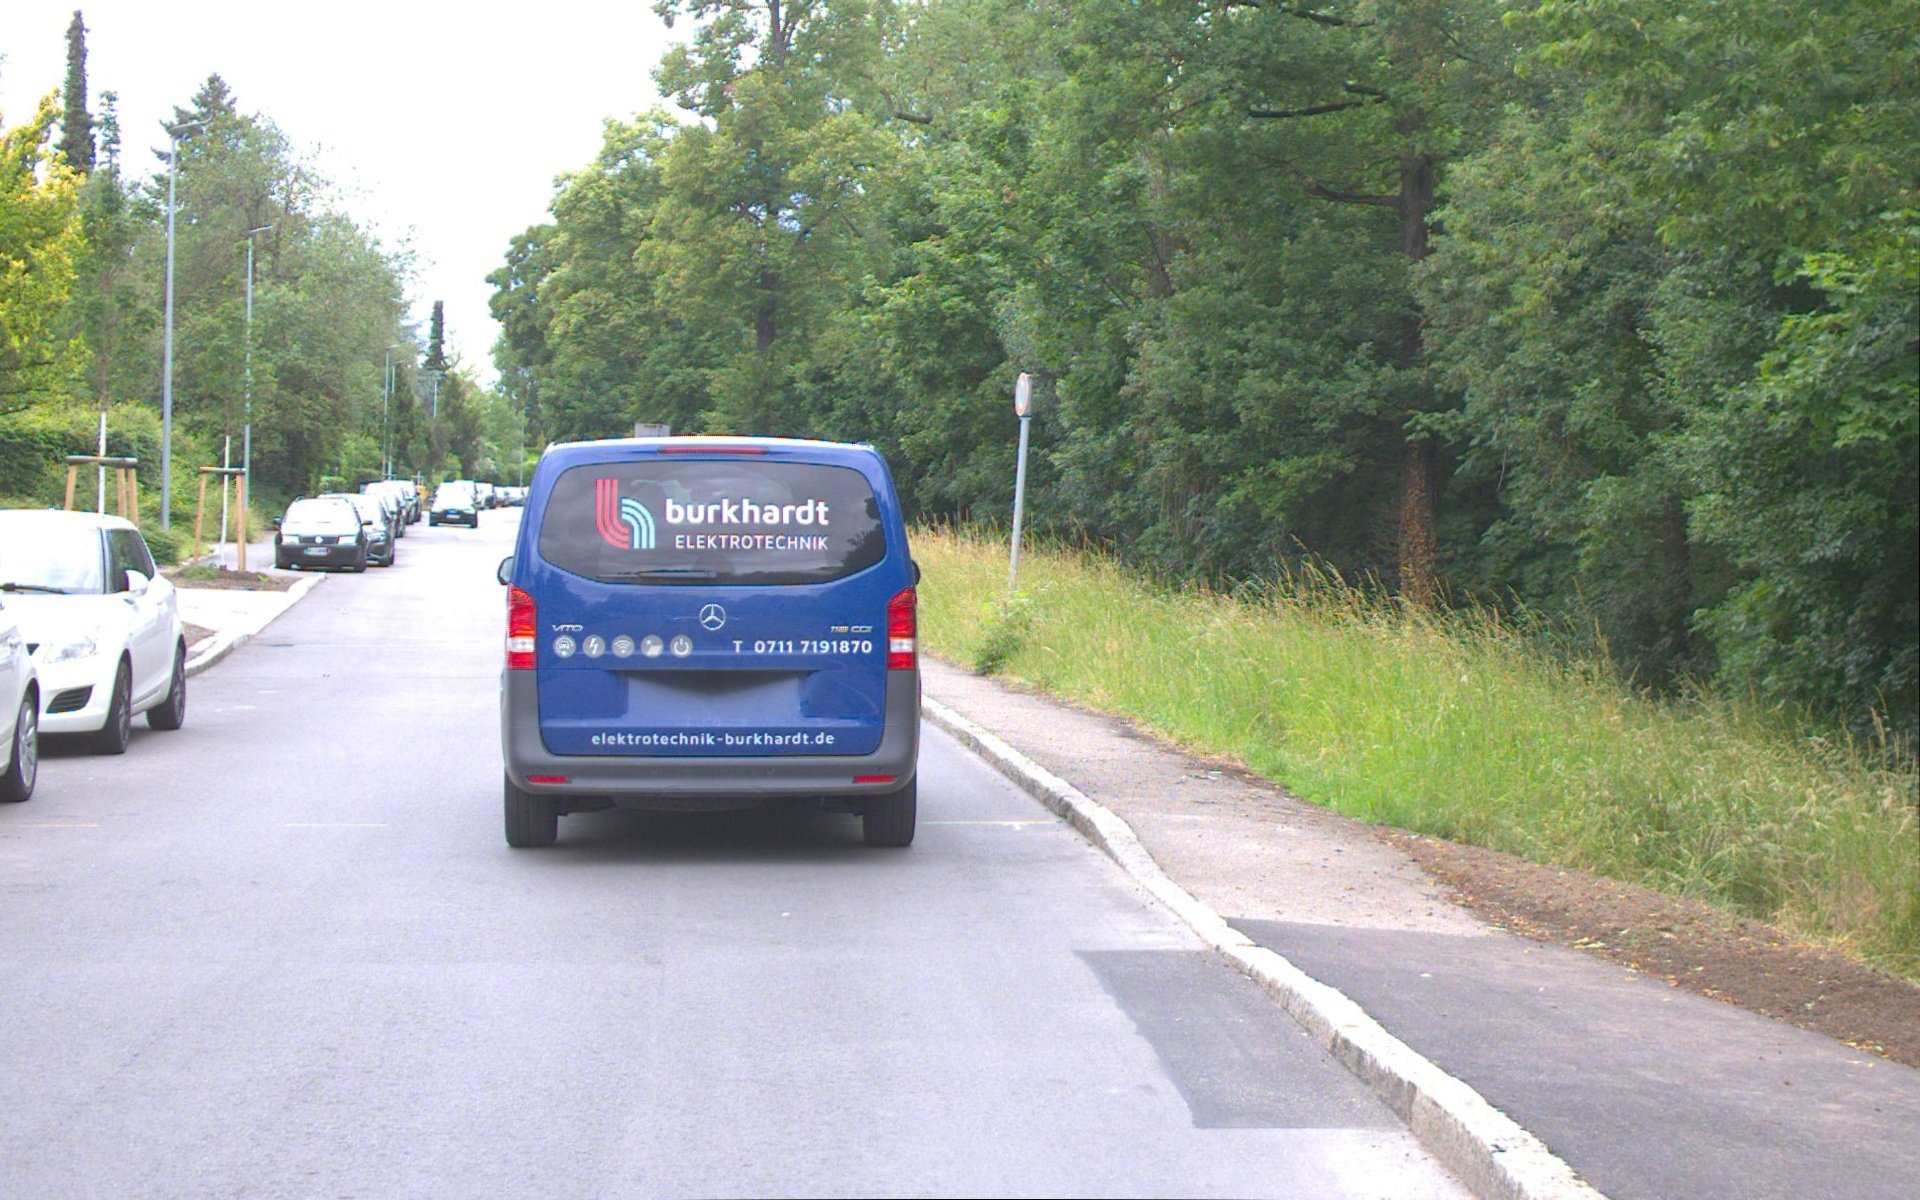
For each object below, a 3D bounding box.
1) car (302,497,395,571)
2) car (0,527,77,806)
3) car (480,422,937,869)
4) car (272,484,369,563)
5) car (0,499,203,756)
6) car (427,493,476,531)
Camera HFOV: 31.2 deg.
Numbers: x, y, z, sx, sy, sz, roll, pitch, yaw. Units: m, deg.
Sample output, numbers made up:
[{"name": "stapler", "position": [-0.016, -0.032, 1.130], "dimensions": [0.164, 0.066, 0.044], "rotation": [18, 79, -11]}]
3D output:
[{"name": "car", "position": [-13.097, -1.438, 73.809], "dimensions": [1.706, 1.477, 4.497], "rotation": [2, 1, -8]}, {"name": "car", "position": [-5.573, 0.314, 16.635], "dimensions": [1.724, 1.385, 4.727], "rotation": [1, 0, -5]}, {"name": "car", "position": [-1.301, 0.100, 16.707], "dimensions": [1.888, 1.837, 4.002], "rotation": [2, 3, -7]}, {"name": "car", "position": [-12.771, -1.554, 68.829], "dimensions": [1.682, 1.477, 4.694], "rotation": [2, 1, -8]}, {"name": "car", "position": [-6.032, 0.107, 22.400], "dimensions": [1.642, 1.464, 4.072], "rotation": [1, 2, -6]}, {"name": "car", "position": [-20.512, -3.554, 138.559], "dimensions": [1.780, 1.421, 4.491], "rotation": [3, 1, -9]}]
